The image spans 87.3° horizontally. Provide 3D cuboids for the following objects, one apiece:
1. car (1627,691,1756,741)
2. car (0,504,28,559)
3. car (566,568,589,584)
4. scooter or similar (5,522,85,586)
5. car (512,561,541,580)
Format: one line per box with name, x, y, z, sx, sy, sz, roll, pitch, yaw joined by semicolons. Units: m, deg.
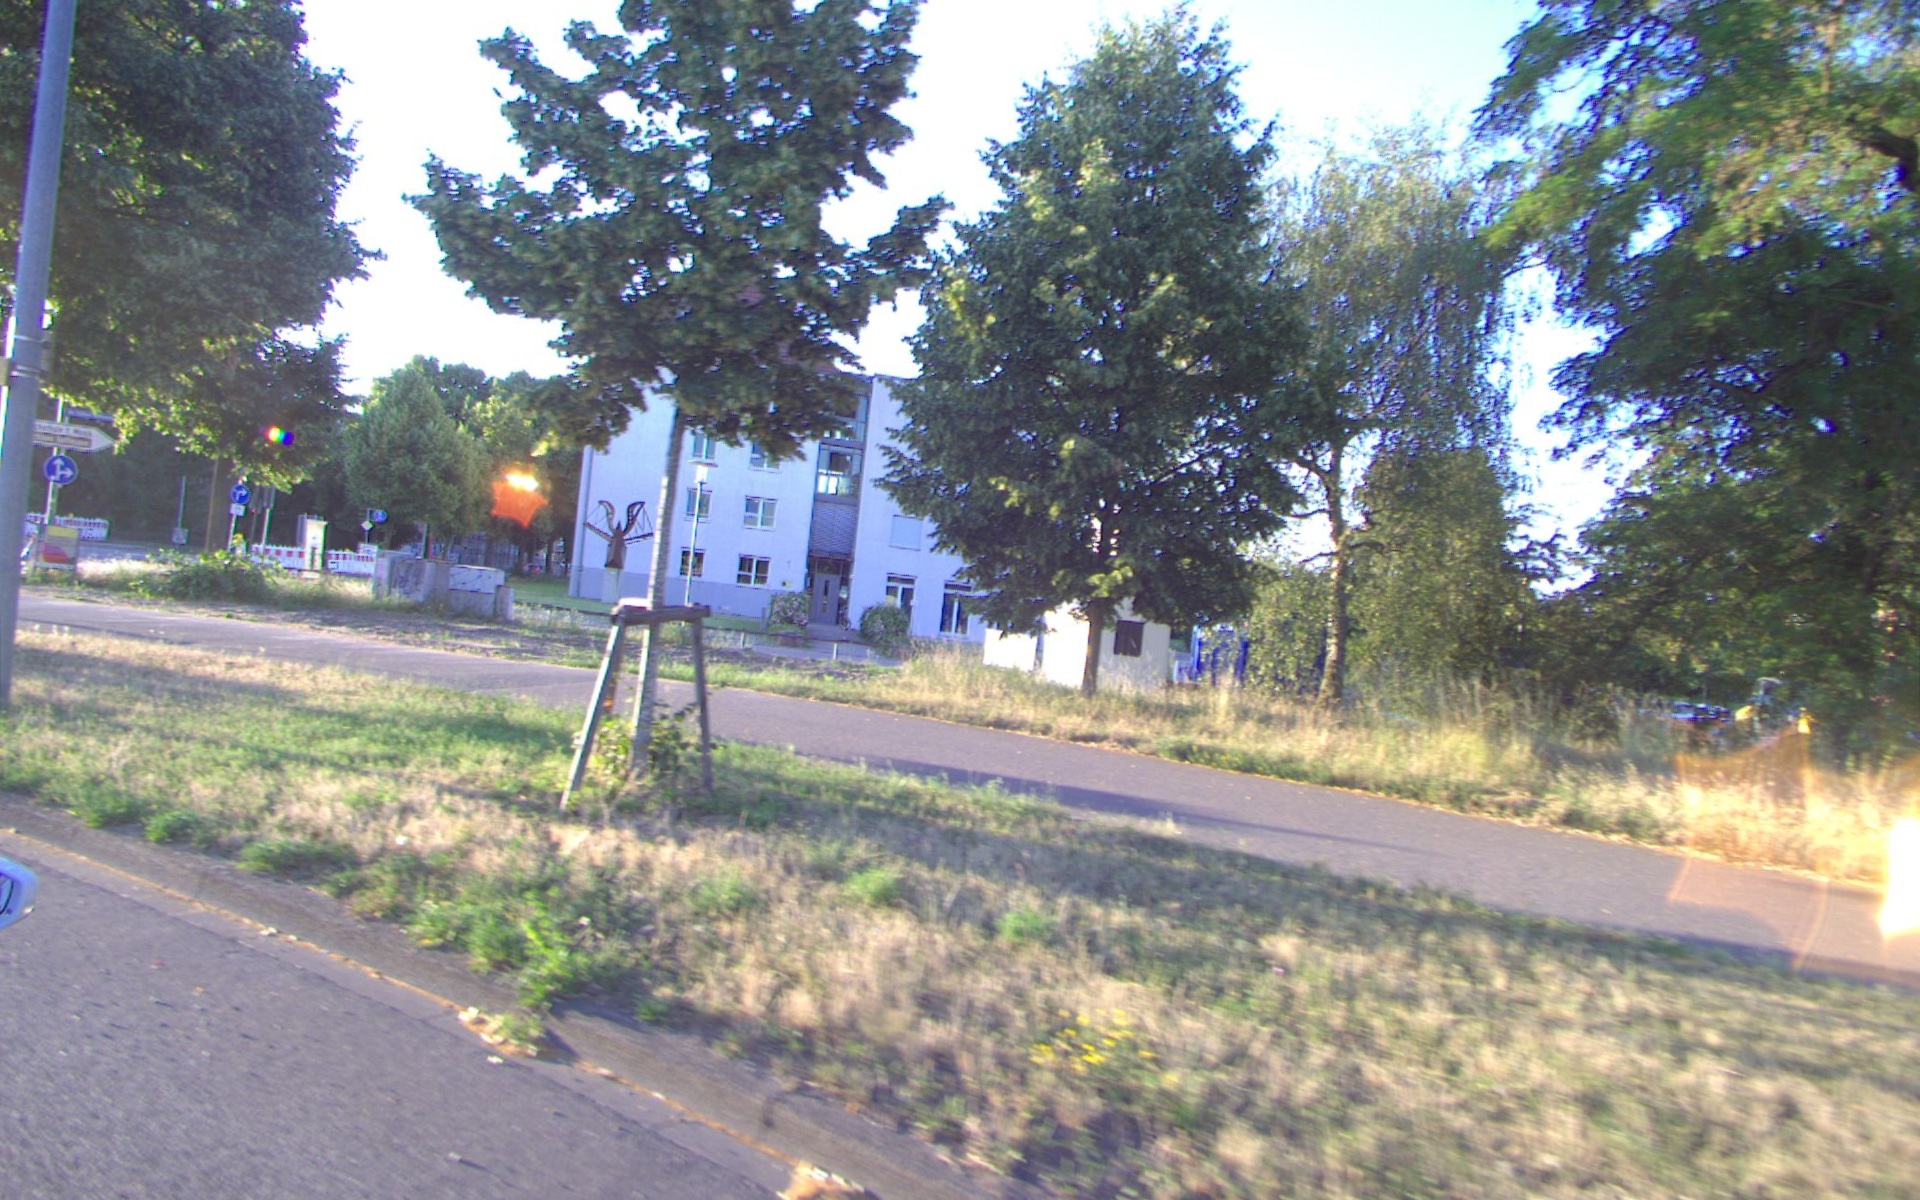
car;30.945;4.877;42.691;1.923;1.463;3.987;7;-1;-16
car;-29.887;-2.157;29.539;1.926;1.622;4.066;5;0;-15
car;-48.963;-3.040;128.767;1.925;1.621;4.071;7;-1;-11
scooter or similar;-19.967;-0.992;21.969;0.434;1.253;1.122;7;0;27
car;-44.872;-3.009;104.242;1.926;1.621;4.068;7;-1;-13
